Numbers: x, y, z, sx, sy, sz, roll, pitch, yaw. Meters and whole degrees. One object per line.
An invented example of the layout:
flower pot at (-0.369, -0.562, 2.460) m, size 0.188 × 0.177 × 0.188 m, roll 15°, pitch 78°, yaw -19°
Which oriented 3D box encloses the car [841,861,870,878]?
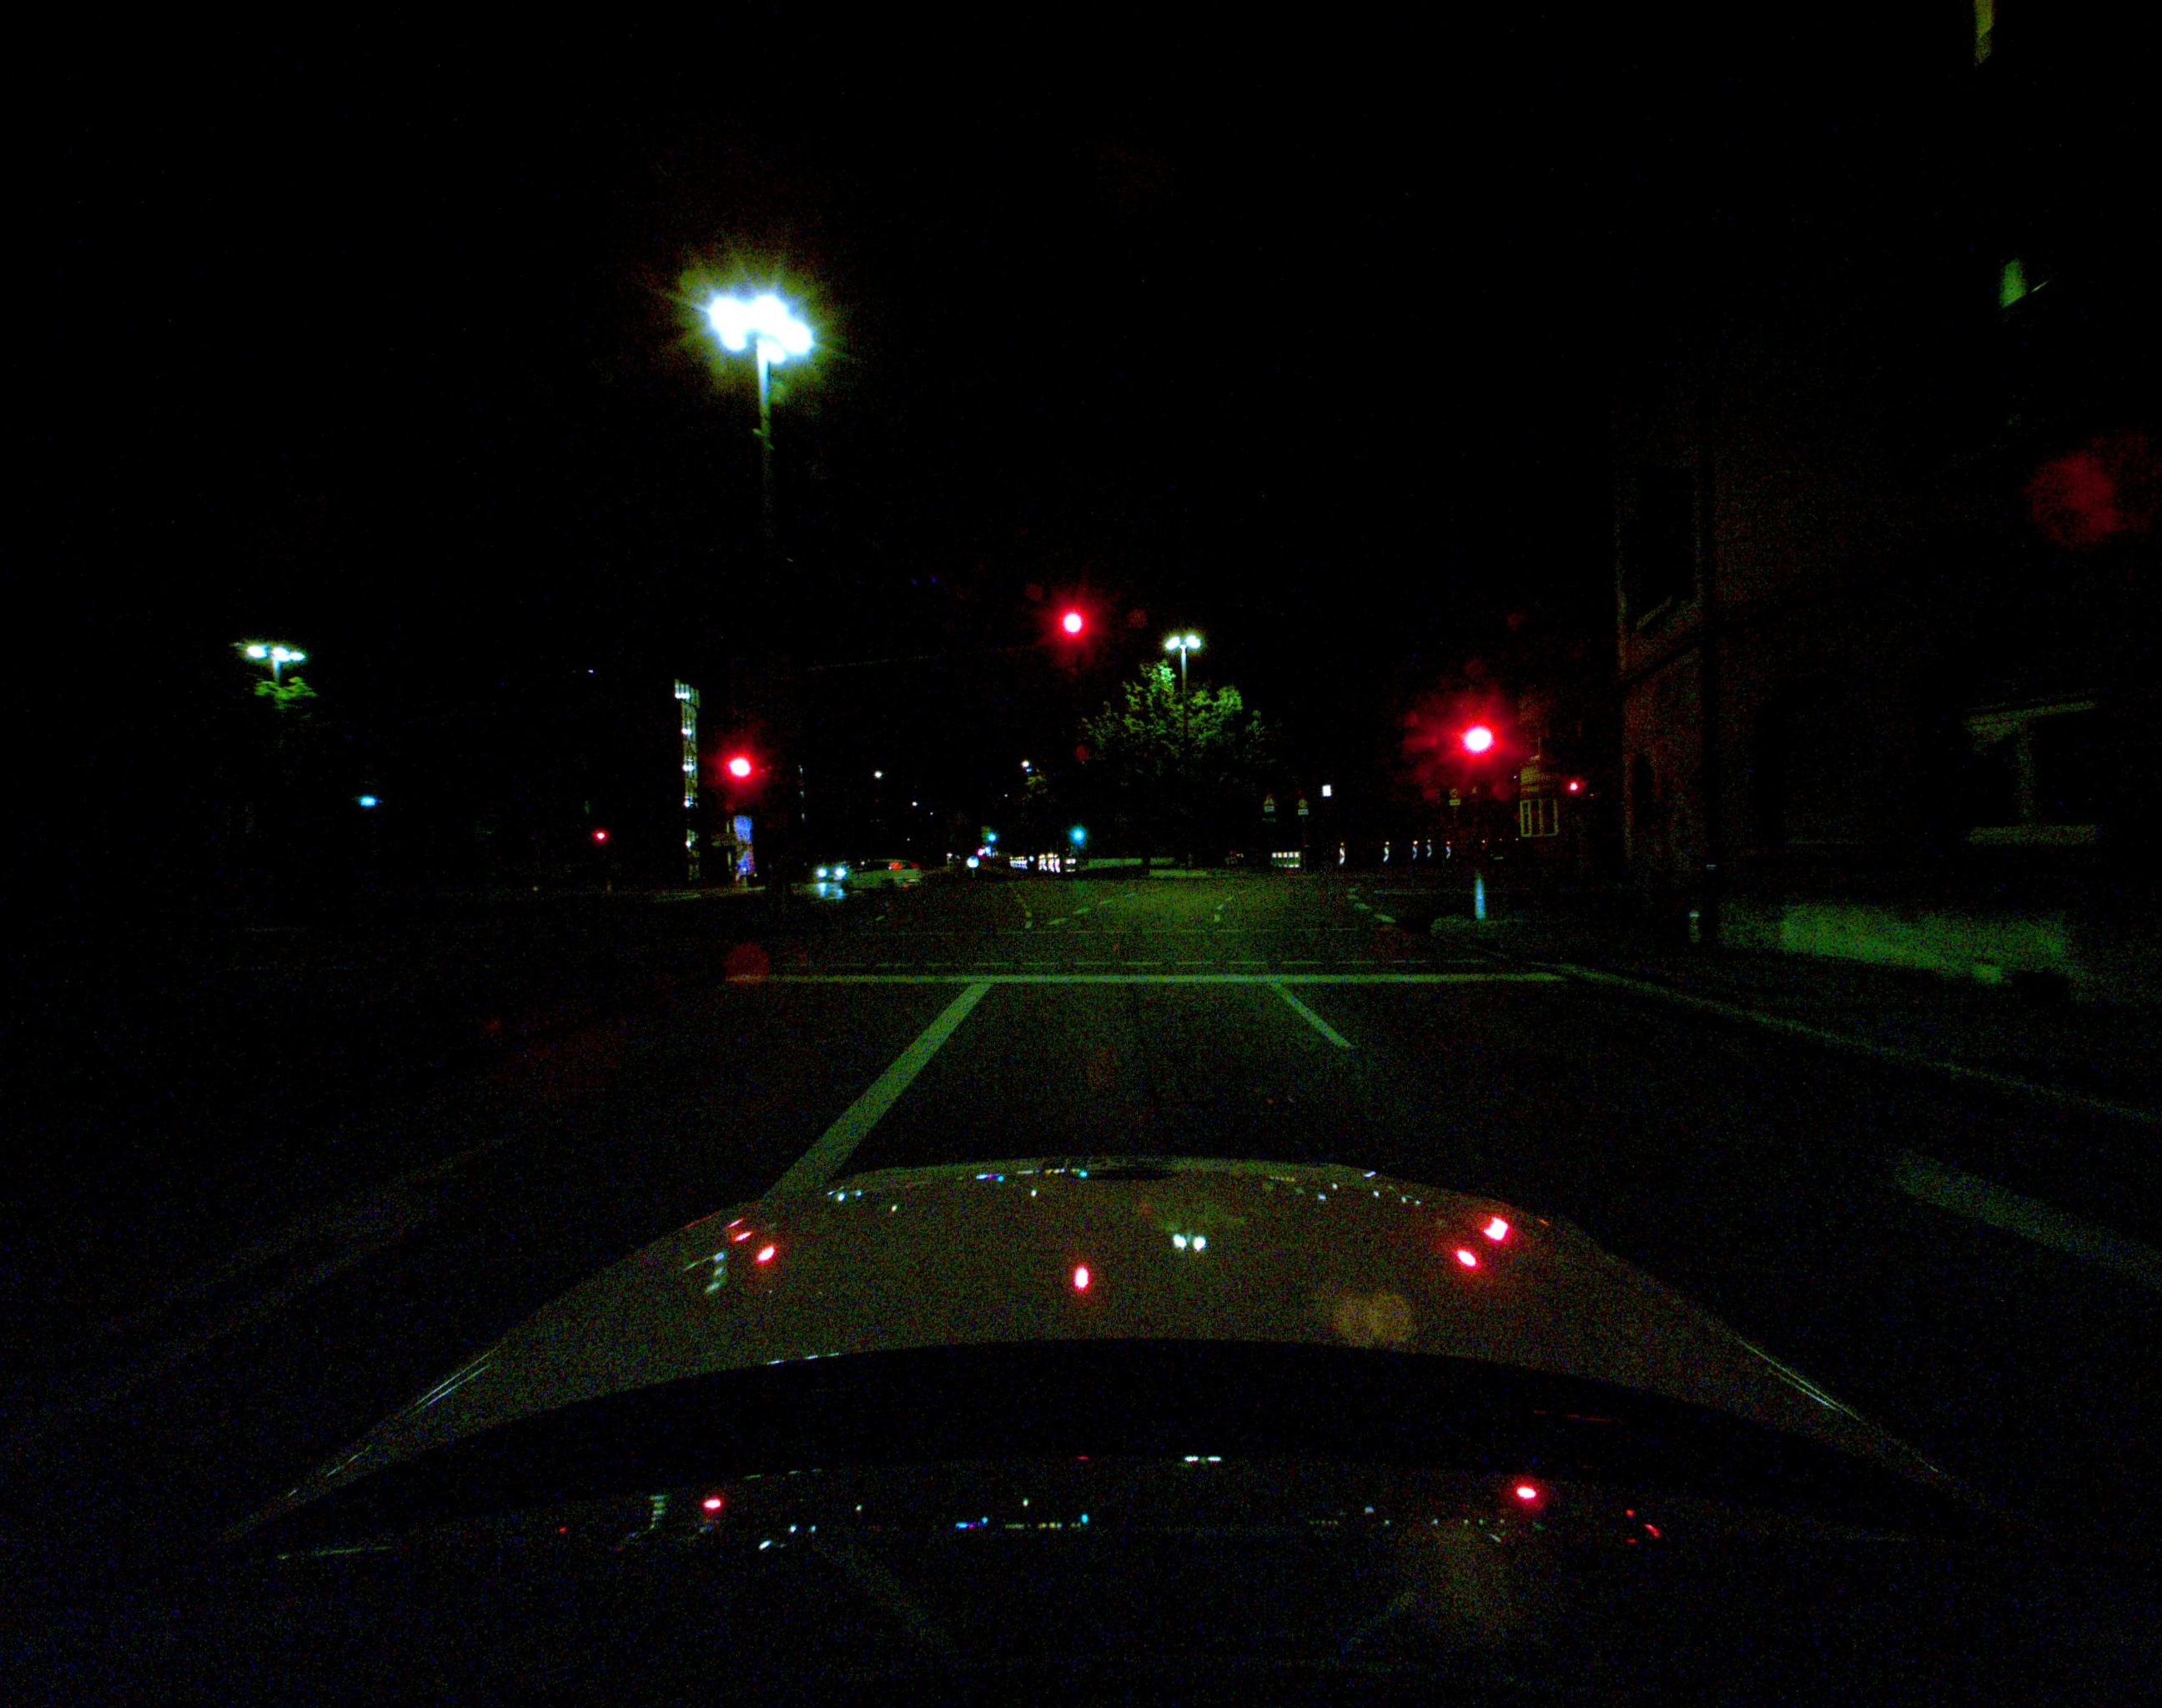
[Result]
car at (-18.847, 1.302, 68.096) m, size 1.755 × 1.322 × 3.540 m, roll -2°, pitch -1°, yaw -6°

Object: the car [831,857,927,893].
car at (-8.975, 0.937, 36.065) m, size 3.949 × 1.491 × 1.719 m, roll -2°, pitch -1°, yaw 28°

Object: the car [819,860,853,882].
car at (-18.232, 1.230, 60.660) m, size 1.613 × 1.515 × 3.992 m, roll -2°, pitch -1°, yaw -5°

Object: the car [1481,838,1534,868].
car at (23.877, -0.066, 45.526) m, size 1.711 × 1.611 × 3.646 m, roll -2°, pitch -1°, yaw 42°
